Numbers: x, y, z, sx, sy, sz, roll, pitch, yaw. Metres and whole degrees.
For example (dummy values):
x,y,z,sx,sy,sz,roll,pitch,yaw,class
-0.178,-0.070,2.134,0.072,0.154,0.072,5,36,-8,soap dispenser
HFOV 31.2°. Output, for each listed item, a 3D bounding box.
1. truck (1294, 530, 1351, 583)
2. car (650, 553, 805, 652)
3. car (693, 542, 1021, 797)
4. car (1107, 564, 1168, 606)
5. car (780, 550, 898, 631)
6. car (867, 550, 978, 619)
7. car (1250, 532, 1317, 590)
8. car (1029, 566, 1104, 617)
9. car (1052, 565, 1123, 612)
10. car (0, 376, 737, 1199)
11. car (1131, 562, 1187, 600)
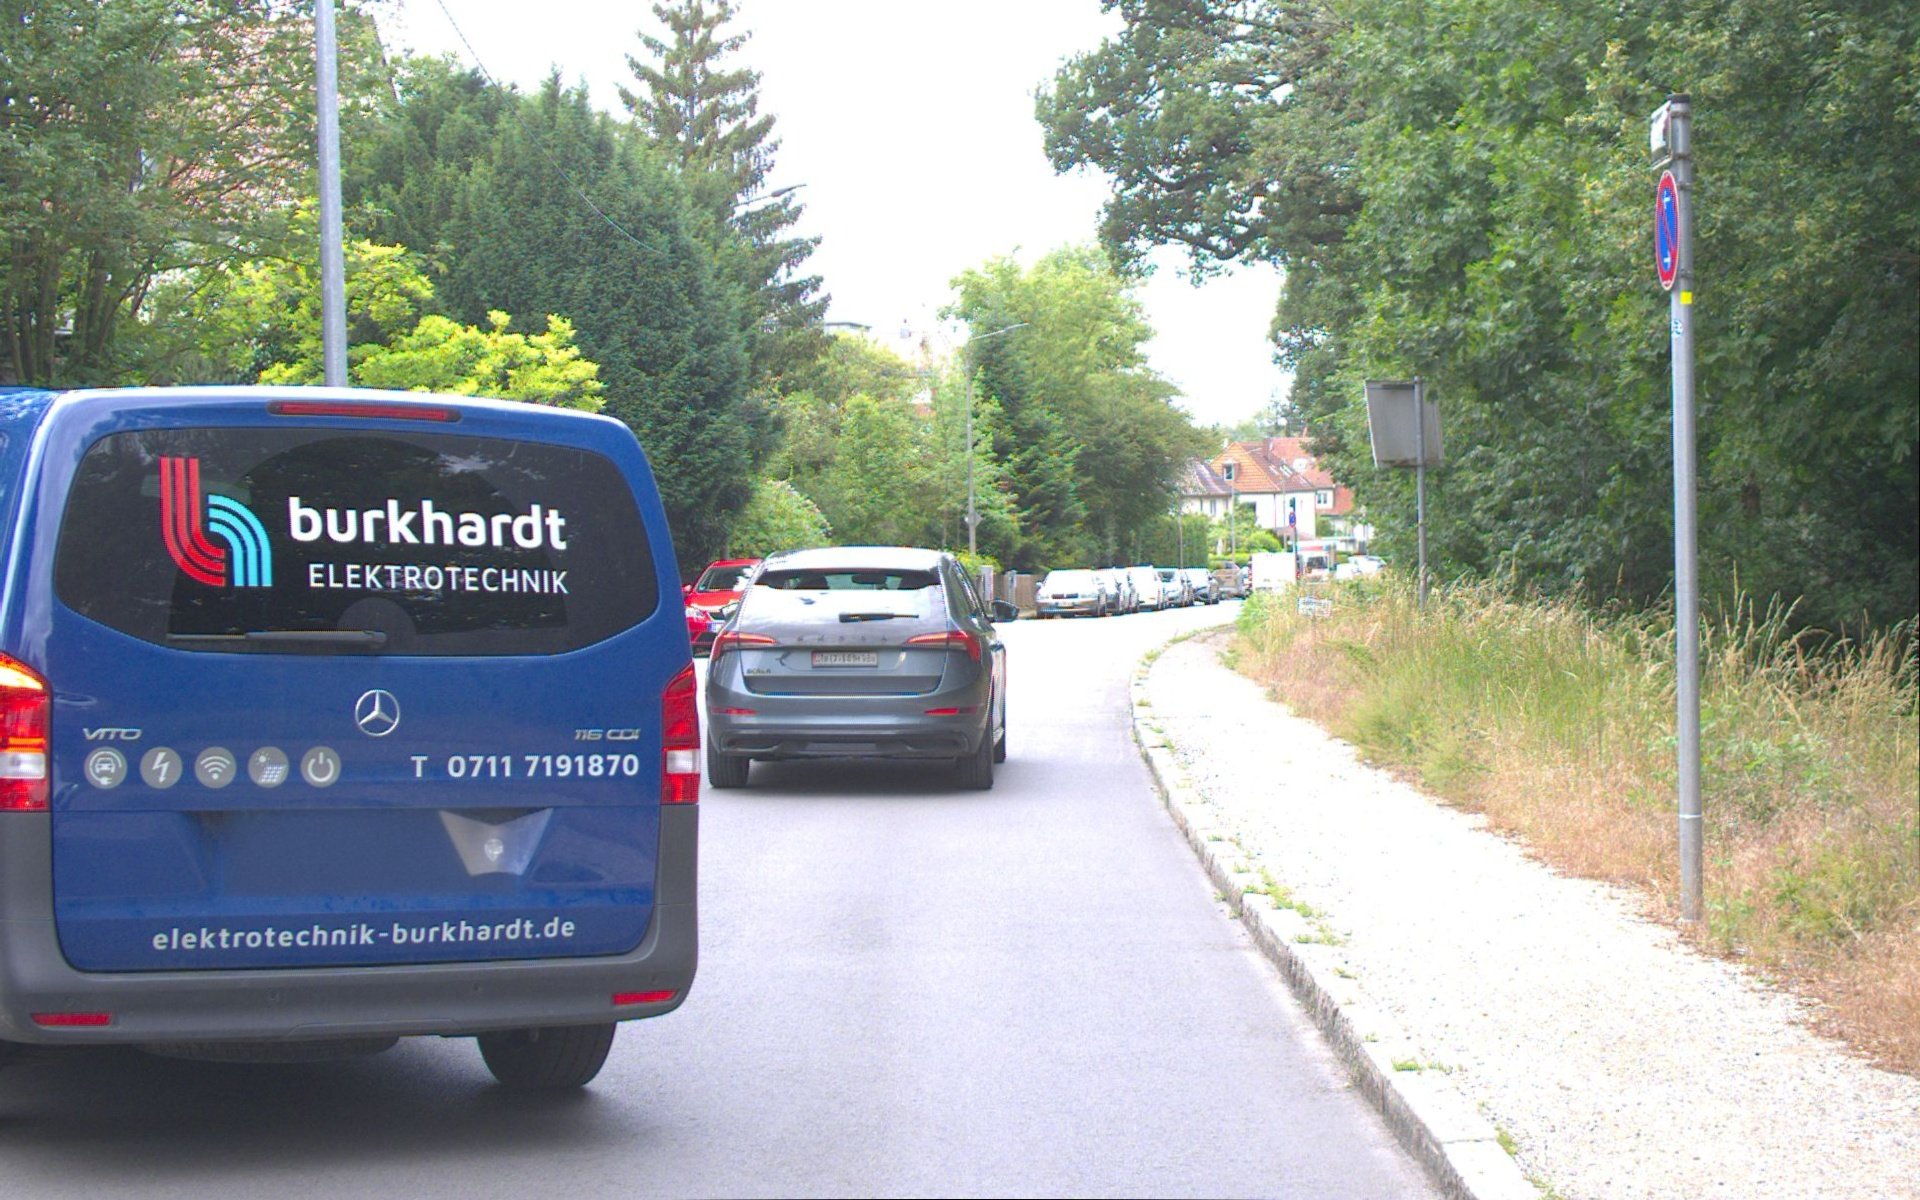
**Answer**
x,y,z,sx,sy,sz,roll,pitch,yaw,class
19.697,-2.388,186.518,2.764,2.784,9.265,0,1,8,truck
-3.420,0.015,51.165,1.635,1.400,3.999,1,1,6,car
-0.558,0.371,21.846,1.735,1.442,4.180,1,1,3,car
6.134,-0.529,118.530,1.749,1.400,3.999,1,1,8,car
-2.142,-0.192,61.736,1.749,1.400,4.000,1,1,3,car
-0.756,-0.342,72.433,1.749,1.400,3.999,1,1,8,car
11.689,-1.436,123.894,2.206,2.056,6.133,0,1,7,car
3.107,-0.259,99.596,1.749,1.400,3.999,1,1,8,car
3.941,-0.358,105.747,1.749,1.400,3.999,1,1,8,car
-2.432,0.381,10.008,1.936,1.873,4.531,0,2,-27,car
7.417,-0.725,128.182,1.749,1.400,3.999,1,1,8,car
